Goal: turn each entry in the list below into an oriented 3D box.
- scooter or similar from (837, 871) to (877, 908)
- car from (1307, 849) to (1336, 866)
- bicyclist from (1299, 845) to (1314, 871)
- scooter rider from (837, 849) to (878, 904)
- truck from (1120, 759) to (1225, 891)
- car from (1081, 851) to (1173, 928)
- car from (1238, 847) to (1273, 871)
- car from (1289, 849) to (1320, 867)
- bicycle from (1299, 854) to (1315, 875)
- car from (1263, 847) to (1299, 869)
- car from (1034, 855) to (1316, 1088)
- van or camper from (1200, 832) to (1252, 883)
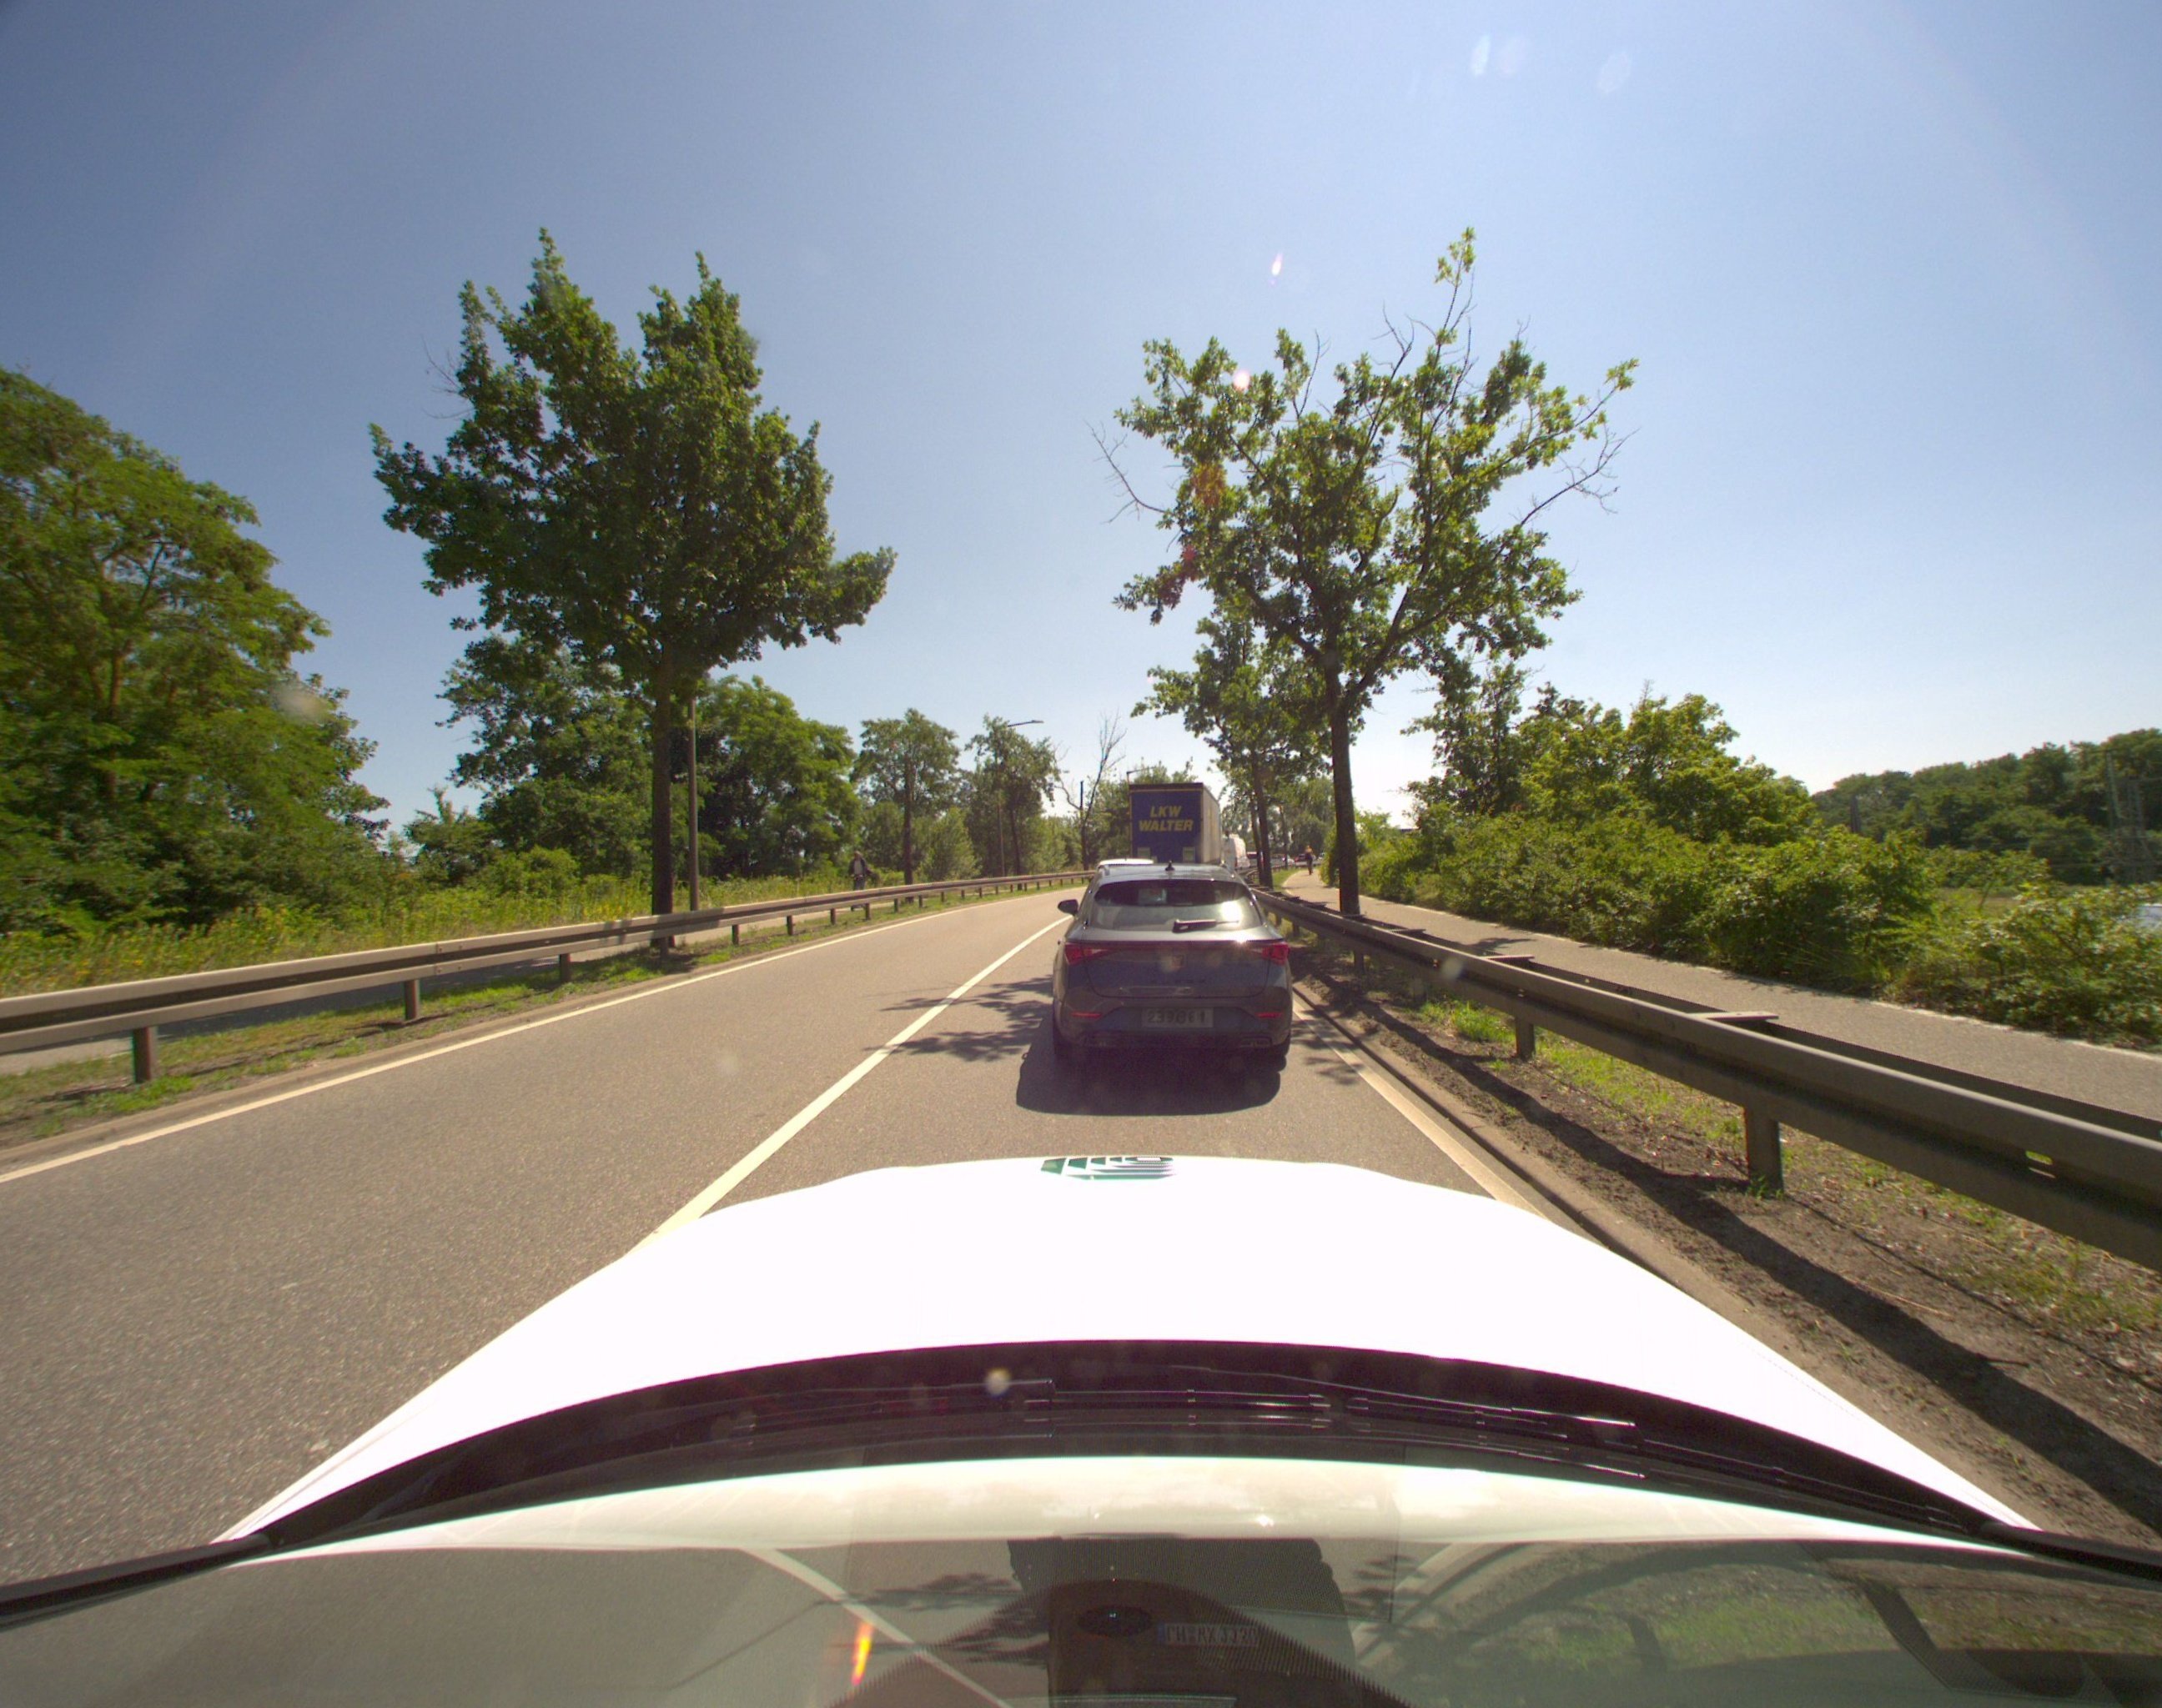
[{"bbox_3d":[-6.893,1.083,25.107,0.772,1.091,1.098,-1,-1,11],"label":"scooter or similar"},{"bbox_3d":[25.542,0.385,86.352,1.975,1.768,4.783,-1,-1,28],"label":"car"},{"bbox_3d":[13.600,0.260,49.086,0.854,1.523,0.984,-1,-1,14],"label":"bicyclist"},{"bbox_3d":[-6.894,0.695,25.148,0.772,1.657,1.124,-1,-1,12],"label":"scooter rider"},{"bbox_3d":[4.543,-0.929,35.927,2.930,4.449,16.853,-1,0,12],"label":"truck"},{"bbox_3d":[1.087,0.726,18.062,1.800,1.508,4.006,-1,0,5],"label":"car"},{"bbox_3d":[13.127,0.346,61.104,1.977,1.712,4.643,-1,-1,20],"label":"car"},{"bbox_3d":[21.879,0.365,79.633,1.975,1.717,4.897,-1,-1,27],"label":"car"},{"bbox_3d":[13.614,0.608,49.092,0.854,1.237,2.319,-1,-1,15],"label":"bicycle"},{"bbox_3d":[17.031,0.311,69.209,1.975,1.808,4.874,-1,-1,27],"label":"car"},{"bbox_3d":[0.631,0.744,7.000,1.738,1.432,3.881,0,0,1],"label":"car"},{"bbox_3d":[9.272,0.228,51.701,2.447,2.998,6.113,-1,-1,17],"label":"van or camper"}]
